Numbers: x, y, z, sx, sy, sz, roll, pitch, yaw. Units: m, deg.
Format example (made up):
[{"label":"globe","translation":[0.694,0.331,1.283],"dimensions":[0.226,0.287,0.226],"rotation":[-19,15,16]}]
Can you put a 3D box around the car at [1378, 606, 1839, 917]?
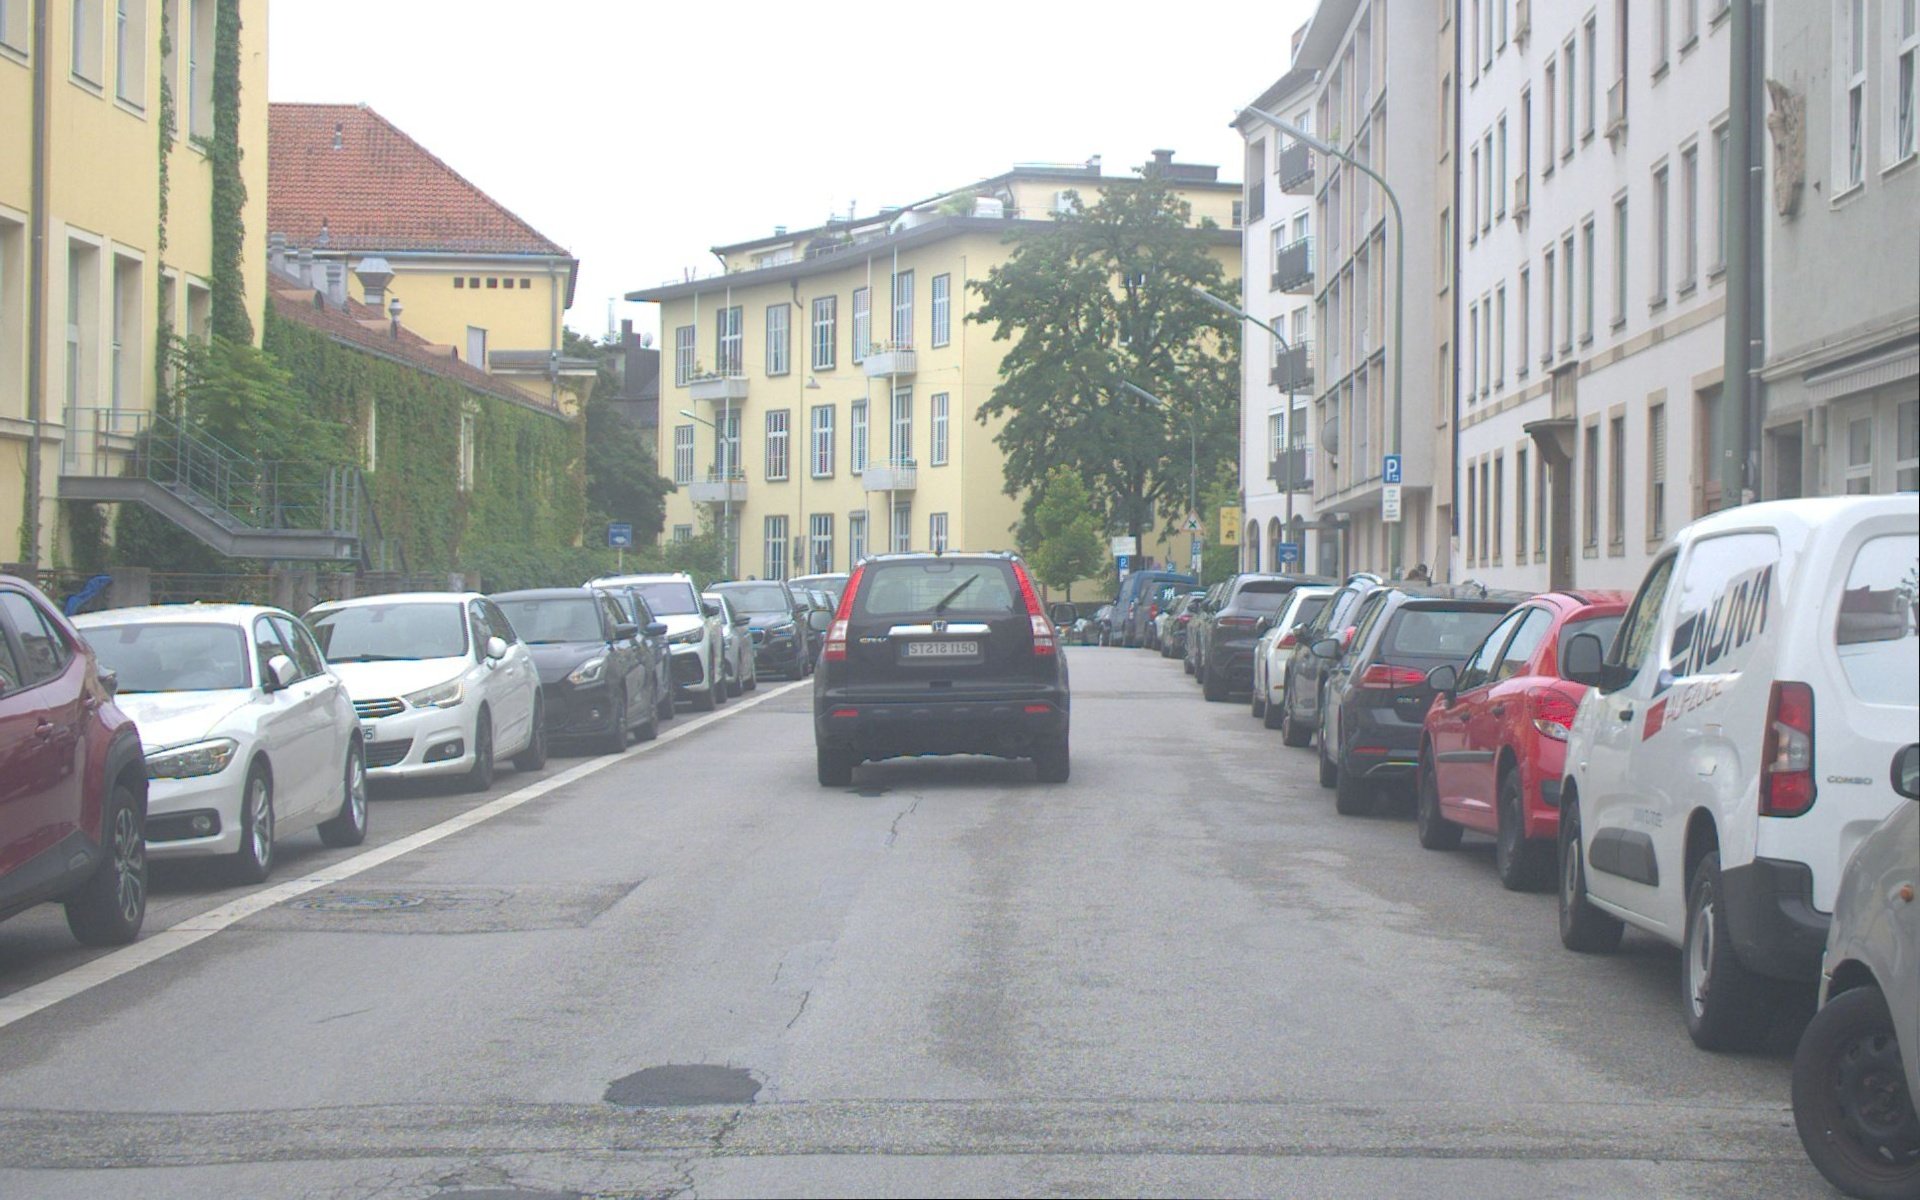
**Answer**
[{"label":"car","translation":[3.298,0.761,18.238],"dimensions":[1.598,1.446,4.301],"rotation":[0,0,0]}]

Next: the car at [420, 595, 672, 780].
[{"label":"car","translation":[-3.720,0.753,31.516],"dimensions":[1.680,1.490,3.985],"rotation":[-3,0,1]}]

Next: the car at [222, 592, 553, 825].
[{"label":"car","translation":[-4.227,0.753,25.962],"dimensions":[1.723,1.522,4.087],"rotation":[-3,0,0]}]

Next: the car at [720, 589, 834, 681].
[{"label":"car","translation":[-3.182,0.592,60.335],"dimensions":[1.781,1.533,4.149],"rotation":[1,0,0]}]

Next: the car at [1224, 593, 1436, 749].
[{"label":"car","translation":[3.813,0.699,36.039],"dimensions":[1.692,1.459,4.083],"rotation":[2,0,0]}]

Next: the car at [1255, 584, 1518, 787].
[{"label":"car","translation":[3.635,0.686,29.924],"dimensions":[1.692,1.578,4.083],"rotation":[2,0,0]}]

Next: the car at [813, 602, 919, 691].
[{"label":"car","translation":[-2.046,1.003,76.406],"dimensions":[1.994,1.869,4.758],"rotation":[0,1,3]}]

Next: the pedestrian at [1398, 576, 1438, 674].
[{"label":"pedestrian","translation":[7.771,0.426,58.358],"dimensions":[0.596,1.648,0.630],"rotation":[1,0,2]}]

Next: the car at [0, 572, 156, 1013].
[{"label":"car","translation":[-4.284,0.718,12.812],"dimensions":[1.674,1.561,3.997],"rotation":[-3,0,-2]}]

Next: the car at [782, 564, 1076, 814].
[{"label":"car","translation":[-0.210,0.595,25.718],"dimensions":[1.995,1.688,4.380],"rotation":[1,0,0]}]

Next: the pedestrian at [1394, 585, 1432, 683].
[{"label":"pedestrian","translation":[7.381,0.544,56.036],"dimensions":[0.531,1.579,0.560],"rotation":[1,0,2]}]

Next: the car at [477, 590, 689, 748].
[{"label":"car","translation":[-3.958,0.693,36.642],"dimensions":[1.680,1.500,3.973],"rotation":[-3,0,1]}]

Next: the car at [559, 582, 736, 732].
[{"label":"car","translation":[-3.701,0.633,41.301],"dimensions":[1.680,1.628,4.357],"rotation":[-3,0,0]}]

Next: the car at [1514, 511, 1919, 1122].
[{"label":"car","translation":[3.260,0.625,12.469],"dimensions":[1.840,1.780,4.894],"rotation":[1,0,2]}]

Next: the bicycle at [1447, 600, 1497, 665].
[{"label":"bicycle","translation":[9.278,0.582,62.331],"dimensions":[0.659,1.159,2.028],"rotation":[-1,0,2]}]

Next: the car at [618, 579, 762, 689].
[{"label":"car","translation":[-3.653,0.430,46.996],"dimensions":[1.680,1.421,3.895],"rotation":[0,1,0]}]

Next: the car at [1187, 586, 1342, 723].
[{"label":"car","translation":[3.716,0.632,42.547],"dimensions":[1.778,1.579,4.329],"rotation":[1,0,4]}]

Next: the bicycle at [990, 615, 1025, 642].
[{"label":"bicycle","translation":[1.956,1.161,141.131],"dimensions":[0.608,1.069,2.218],"rotation":[0,0,-22]}]

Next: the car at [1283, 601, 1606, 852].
[{"label":"car","translation":[3.141,0.769,22.965],"dimensions":[1.692,1.446,4.083],"rotation":[3,0,3]}]

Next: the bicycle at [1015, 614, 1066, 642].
[{"label":"bicycle","translation":[3.251,1.112,139.075],"dimensions":[2.215,1.113,0.608],"rotation":[0,-1,43]}]

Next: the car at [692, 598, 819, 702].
[{"label":"car","translation":[-3.207,0.759,54.499],"dimensions":[1.781,1.533,4.195],"rotation":[0,1,0]}]

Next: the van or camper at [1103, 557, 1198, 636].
[{"label":"van or camper","translation":[5.560,-0.123,100.987],"dimensions":[2.060,2.223,5.439],"rotation":[1,0,-4]}]

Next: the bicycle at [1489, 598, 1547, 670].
[{"label":"bicycle","translation":[8.934,0.527,55.084],"dimensions":[0.659,1.122,2.028],"rotation":[-1,0,2]}]

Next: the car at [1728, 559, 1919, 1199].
[{"label":"car","translation":[2.979,0.757,7.185],"dimensions":[1.603,1.636,3.632],"rotation":[2,0,-5]}]

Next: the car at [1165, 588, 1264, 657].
[{"label":"car","translation":[5.440,0.466,73.917],"dimensions":[1.796,1.416,4.483],"rotation":[0,0,0]}]

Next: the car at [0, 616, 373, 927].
[{"label":"car","translation":[-4.305,0.839,18.426],"dimensions":[1.674,1.393,3.997],"rotation":[-3,0,-2]}]

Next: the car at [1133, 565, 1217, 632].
[{"label":"car","translation":[5.940,-0.072,95.569],"dimensions":[1.964,1.810,4.936],"rotation":[0,1,-1]}]
